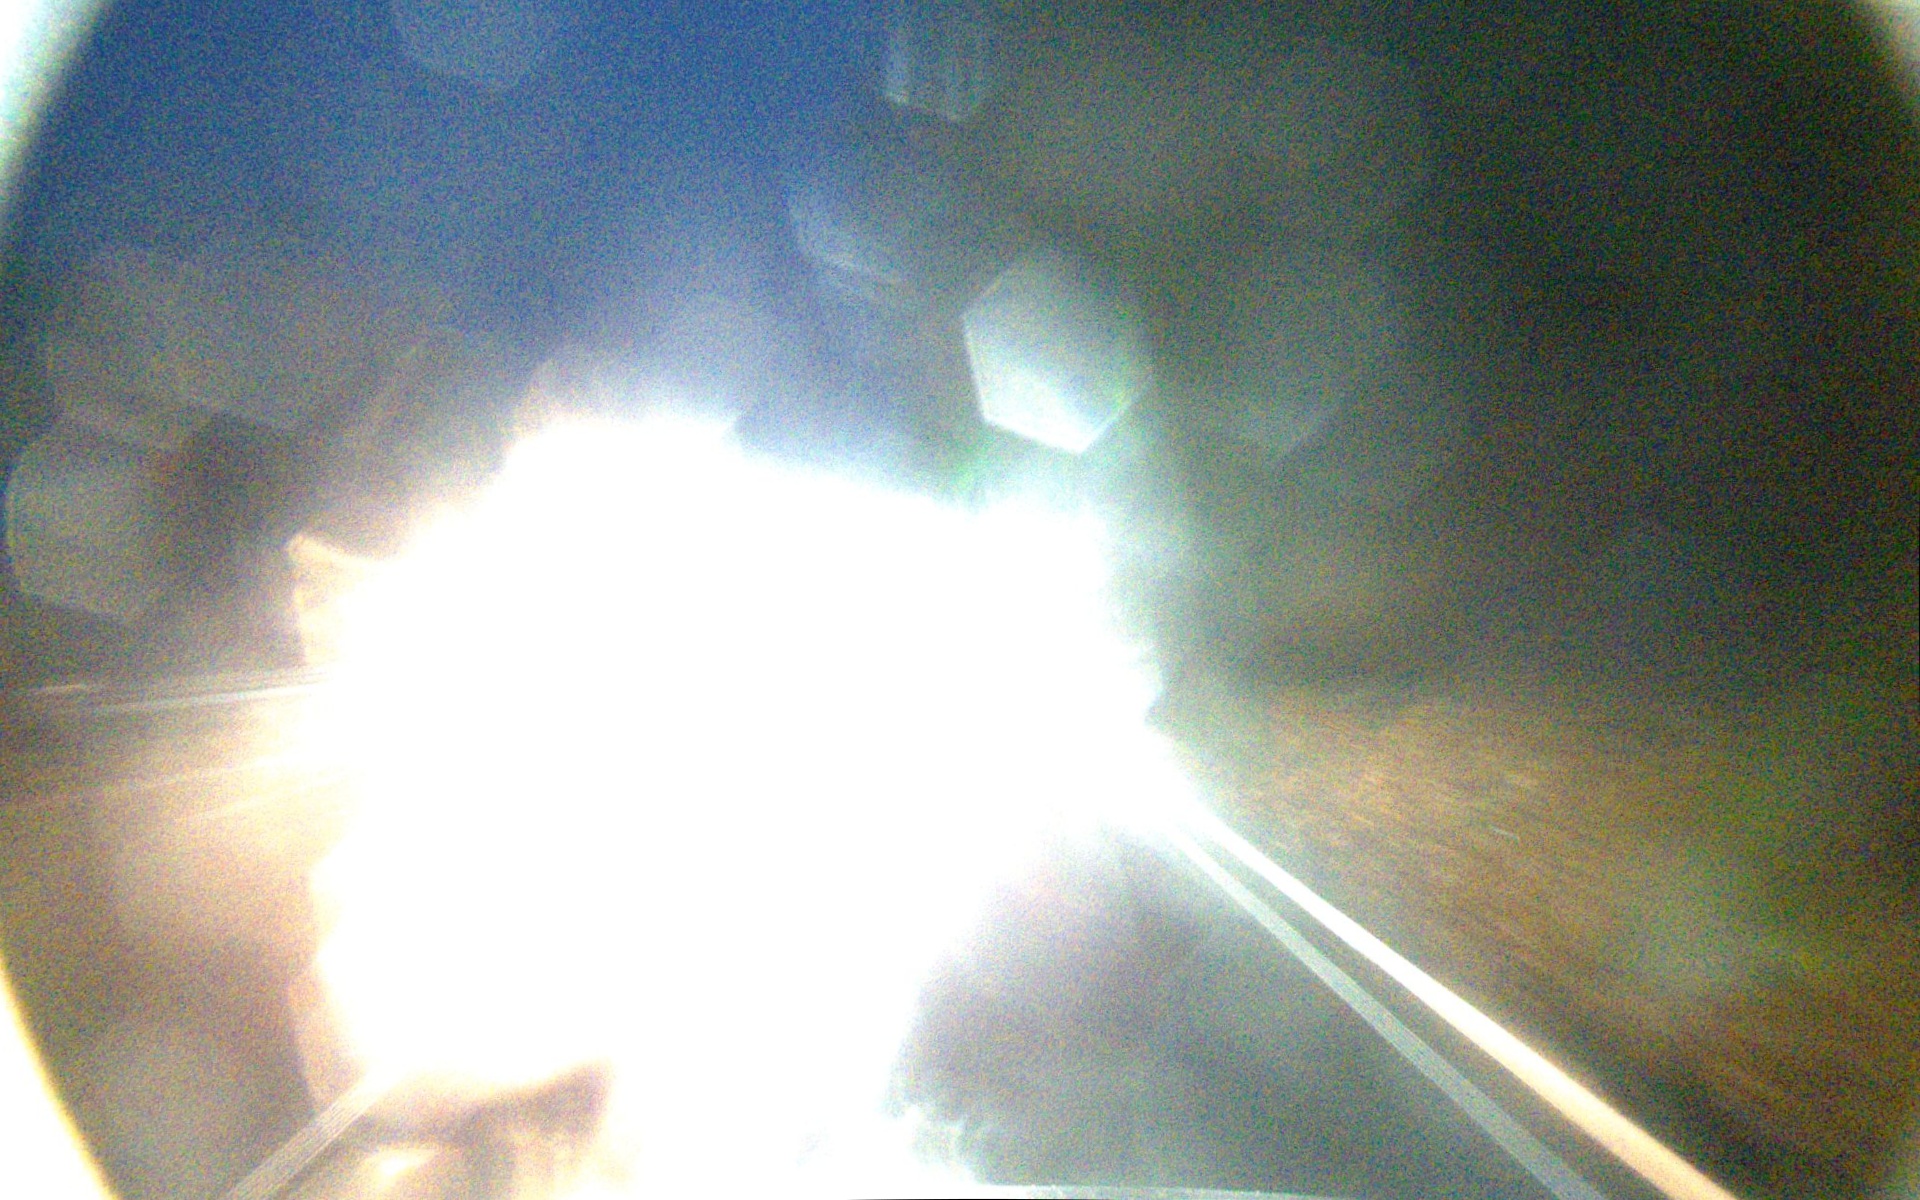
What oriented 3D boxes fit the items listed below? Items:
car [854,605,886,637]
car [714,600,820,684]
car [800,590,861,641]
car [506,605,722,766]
[{"bbox_3d":[-5.769,1.344,106.218,1.743,1.912,3.998,-4,-1,0],"label":"car"},{"bbox_3d":[-4.291,0.947,37.368,1.850,1.663,4.389,-4,-1,-1],"label":"car"},{"bbox_3d":[-4.662,0.588,60.041,1.999,1.635,3.996,-4,-1,-3],"label":"car"},{"bbox_3d":[-3.655,0.841,18.115,1.667,1.493,4.039,-1,0,-3],"label":"car"}]
